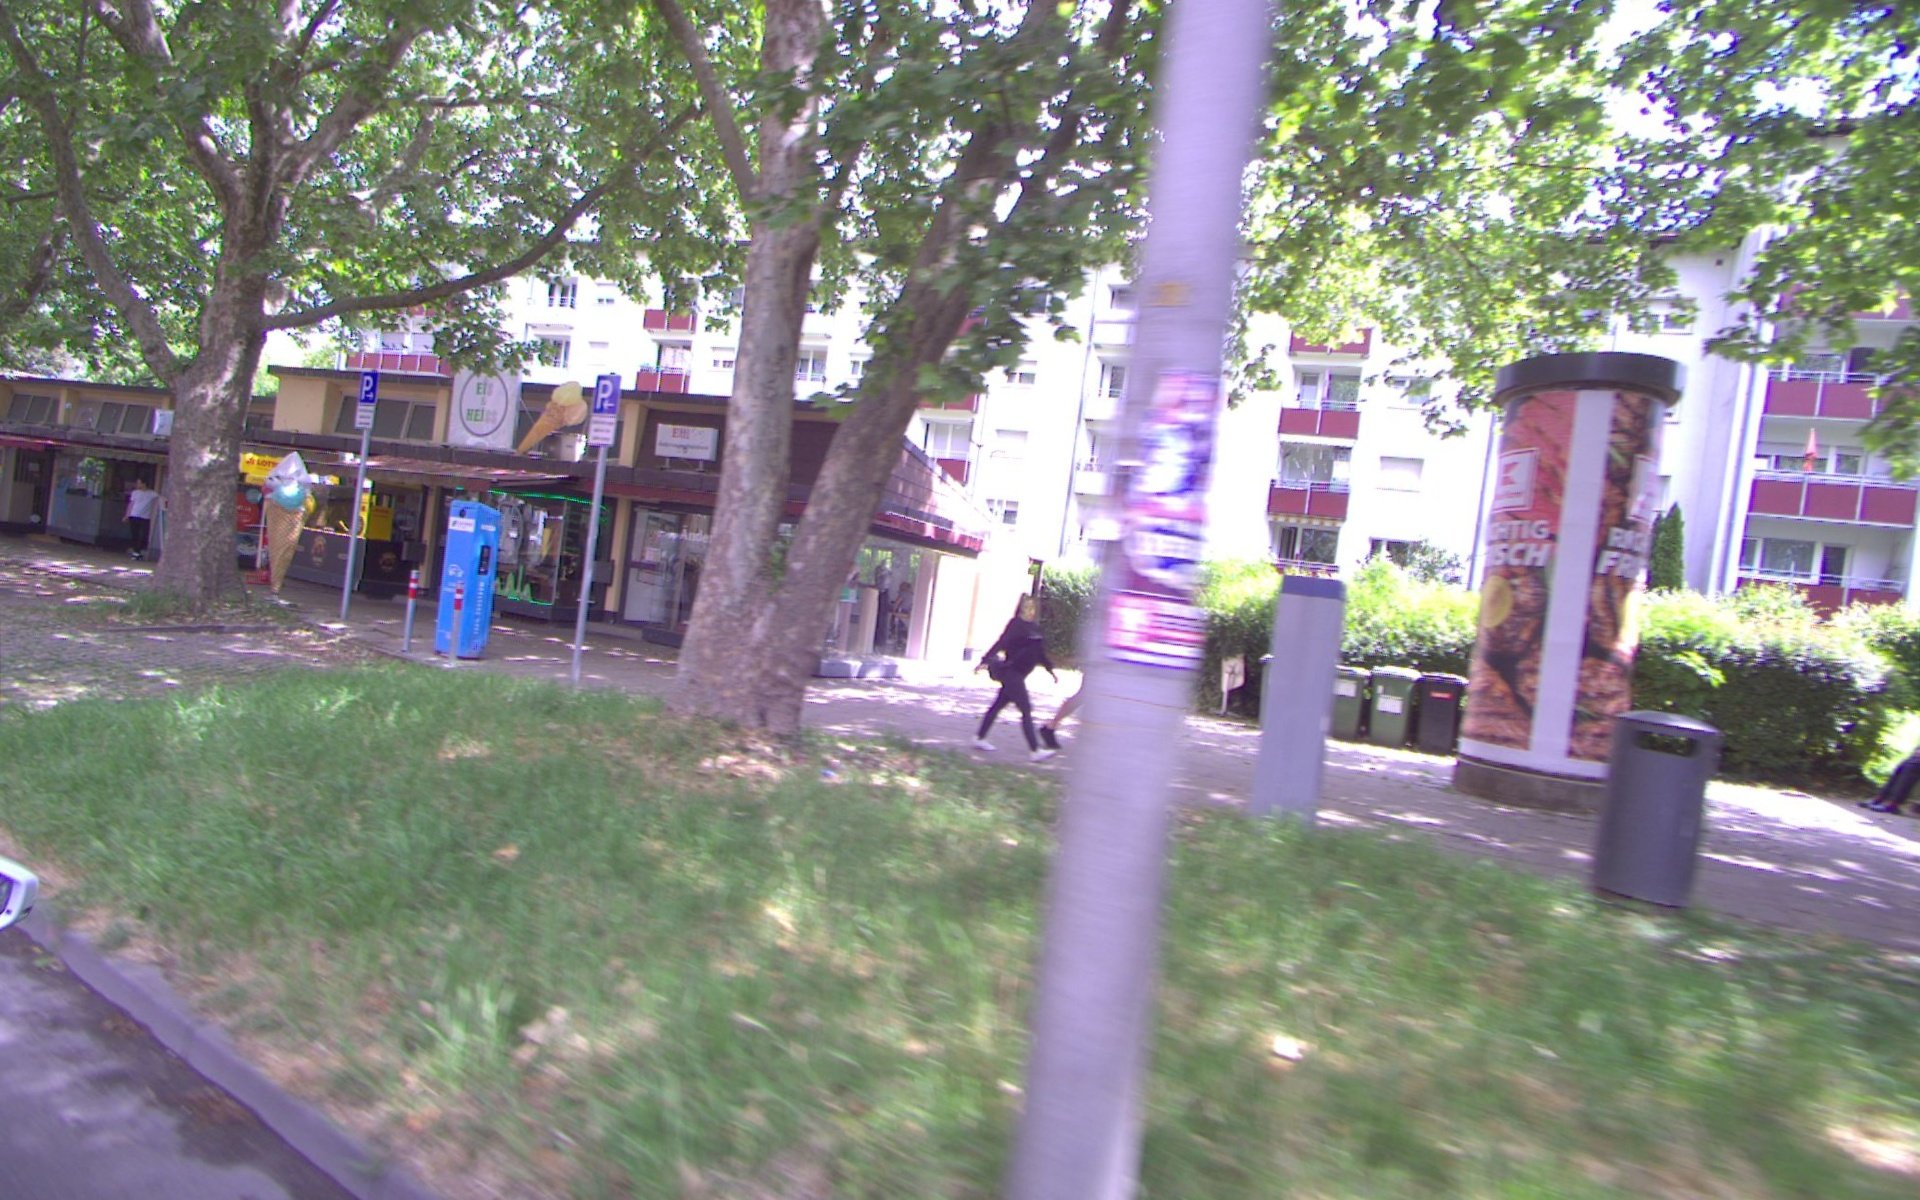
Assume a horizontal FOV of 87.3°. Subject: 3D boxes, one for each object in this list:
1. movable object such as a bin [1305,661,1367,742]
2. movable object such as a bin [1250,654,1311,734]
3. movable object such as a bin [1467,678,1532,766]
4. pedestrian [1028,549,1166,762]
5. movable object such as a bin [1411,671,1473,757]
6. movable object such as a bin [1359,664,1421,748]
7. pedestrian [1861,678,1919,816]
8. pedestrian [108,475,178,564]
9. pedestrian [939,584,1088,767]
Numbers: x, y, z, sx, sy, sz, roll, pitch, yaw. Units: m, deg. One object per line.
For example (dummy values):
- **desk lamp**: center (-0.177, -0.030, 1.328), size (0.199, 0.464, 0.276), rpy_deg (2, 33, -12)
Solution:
- **movable object such as a bin**: center (5.286, 1.415, 14.116), size (0.636, 1.029, 0.625), rpy_deg (7, 1, 28)
- **movable object such as a bin**: center (4.580, 1.332, 14.368), size (0.636, 1.029, 0.625), rpy_deg (7, 1, 28)
- **movable object such as a bin**: center (7.133, 1.598, 13.329), size (0.636, 1.046, 0.625), rpy_deg (7, 1, 28)
- **pedestrian**: center (1.335, 0.515, 9.773), size (0.926, 1.908, 0.744), rpy_deg (7, 2, 31)
- **movable object such as a bin**: center (6.533, 1.522, 13.622), size (0.636, 1.046, 0.625), rpy_deg (7, 1, 28)
- **movable object such as a bin**: center (5.961, 1.451, 13.930), size (0.636, 1.046, 0.625), rpy_deg (7, 1, 28)
- **pedestrian**: center (11.359, 1.743, 11.768), size (0.892, 1.554, 0.752), rpy_deg (7, 0, 24)
- **pedestrian**: center (-18.102, -1.770, 22.295), size (0.911, 1.824, 0.604), rpy_deg (6, 1, -14)
- **pedestrian**: center (0.484, 0.664, 9.085), size (1.011, 1.465, 0.626), rpy_deg (7, 1, 31)
